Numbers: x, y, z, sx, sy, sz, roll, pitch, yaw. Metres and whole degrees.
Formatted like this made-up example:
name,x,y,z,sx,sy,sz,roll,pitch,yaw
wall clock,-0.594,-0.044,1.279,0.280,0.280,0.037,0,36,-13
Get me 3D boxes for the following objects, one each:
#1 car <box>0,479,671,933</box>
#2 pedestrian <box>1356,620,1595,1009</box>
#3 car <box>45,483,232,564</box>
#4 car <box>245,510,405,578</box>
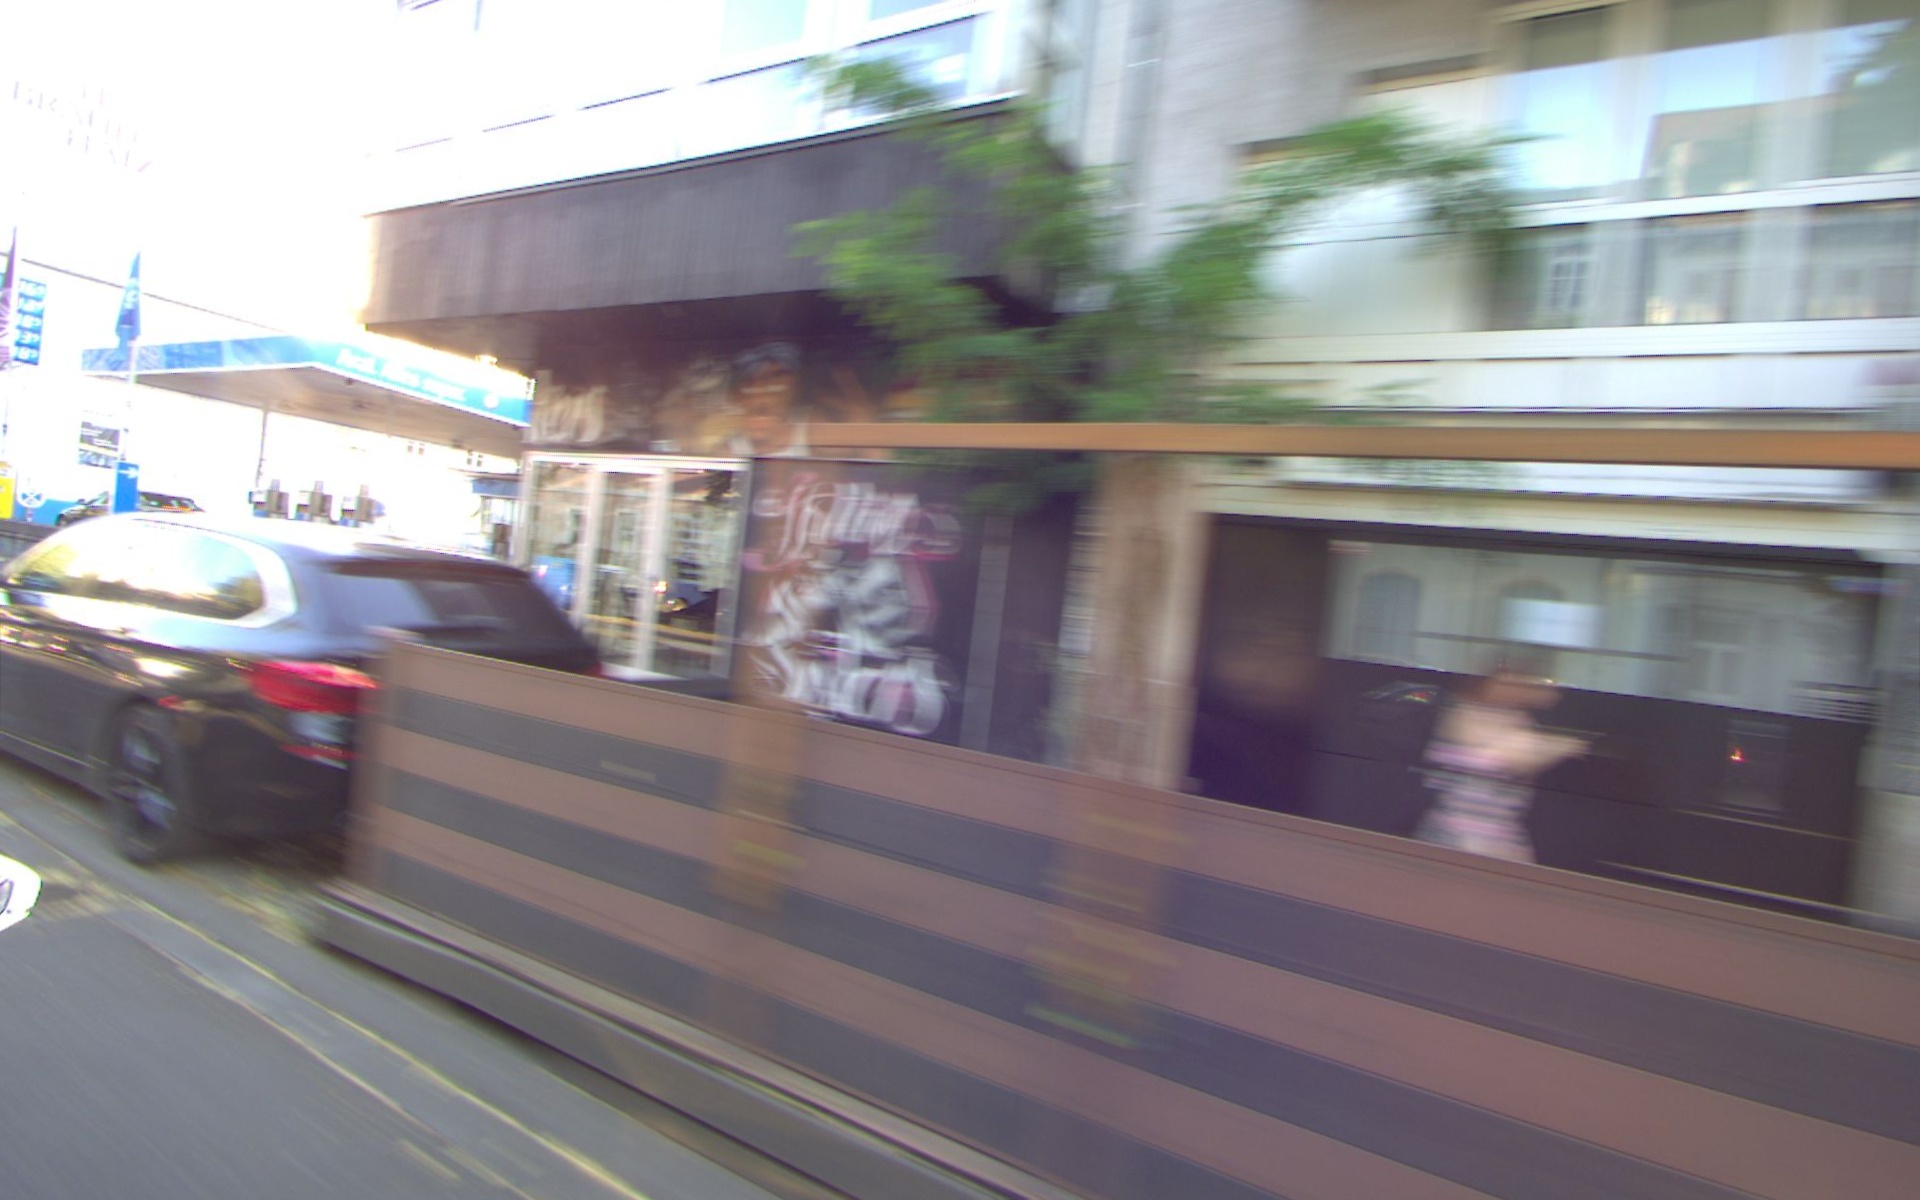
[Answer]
name,x,y,z,sx,sy,sz,roll,pitch,yaw
car,-4.053,0.232,5.556,4.767,1.507,1.830,7,2,30
pedestrian,2.365,0.913,4.620,0.760,1.545,0.611,7,2,32
car,-18.768,-1.763,22.915,4.827,1.448,1.736,6,0,31
car,-17.328,-1.537,27.393,4.680,1.419,1.712,6,0,31
